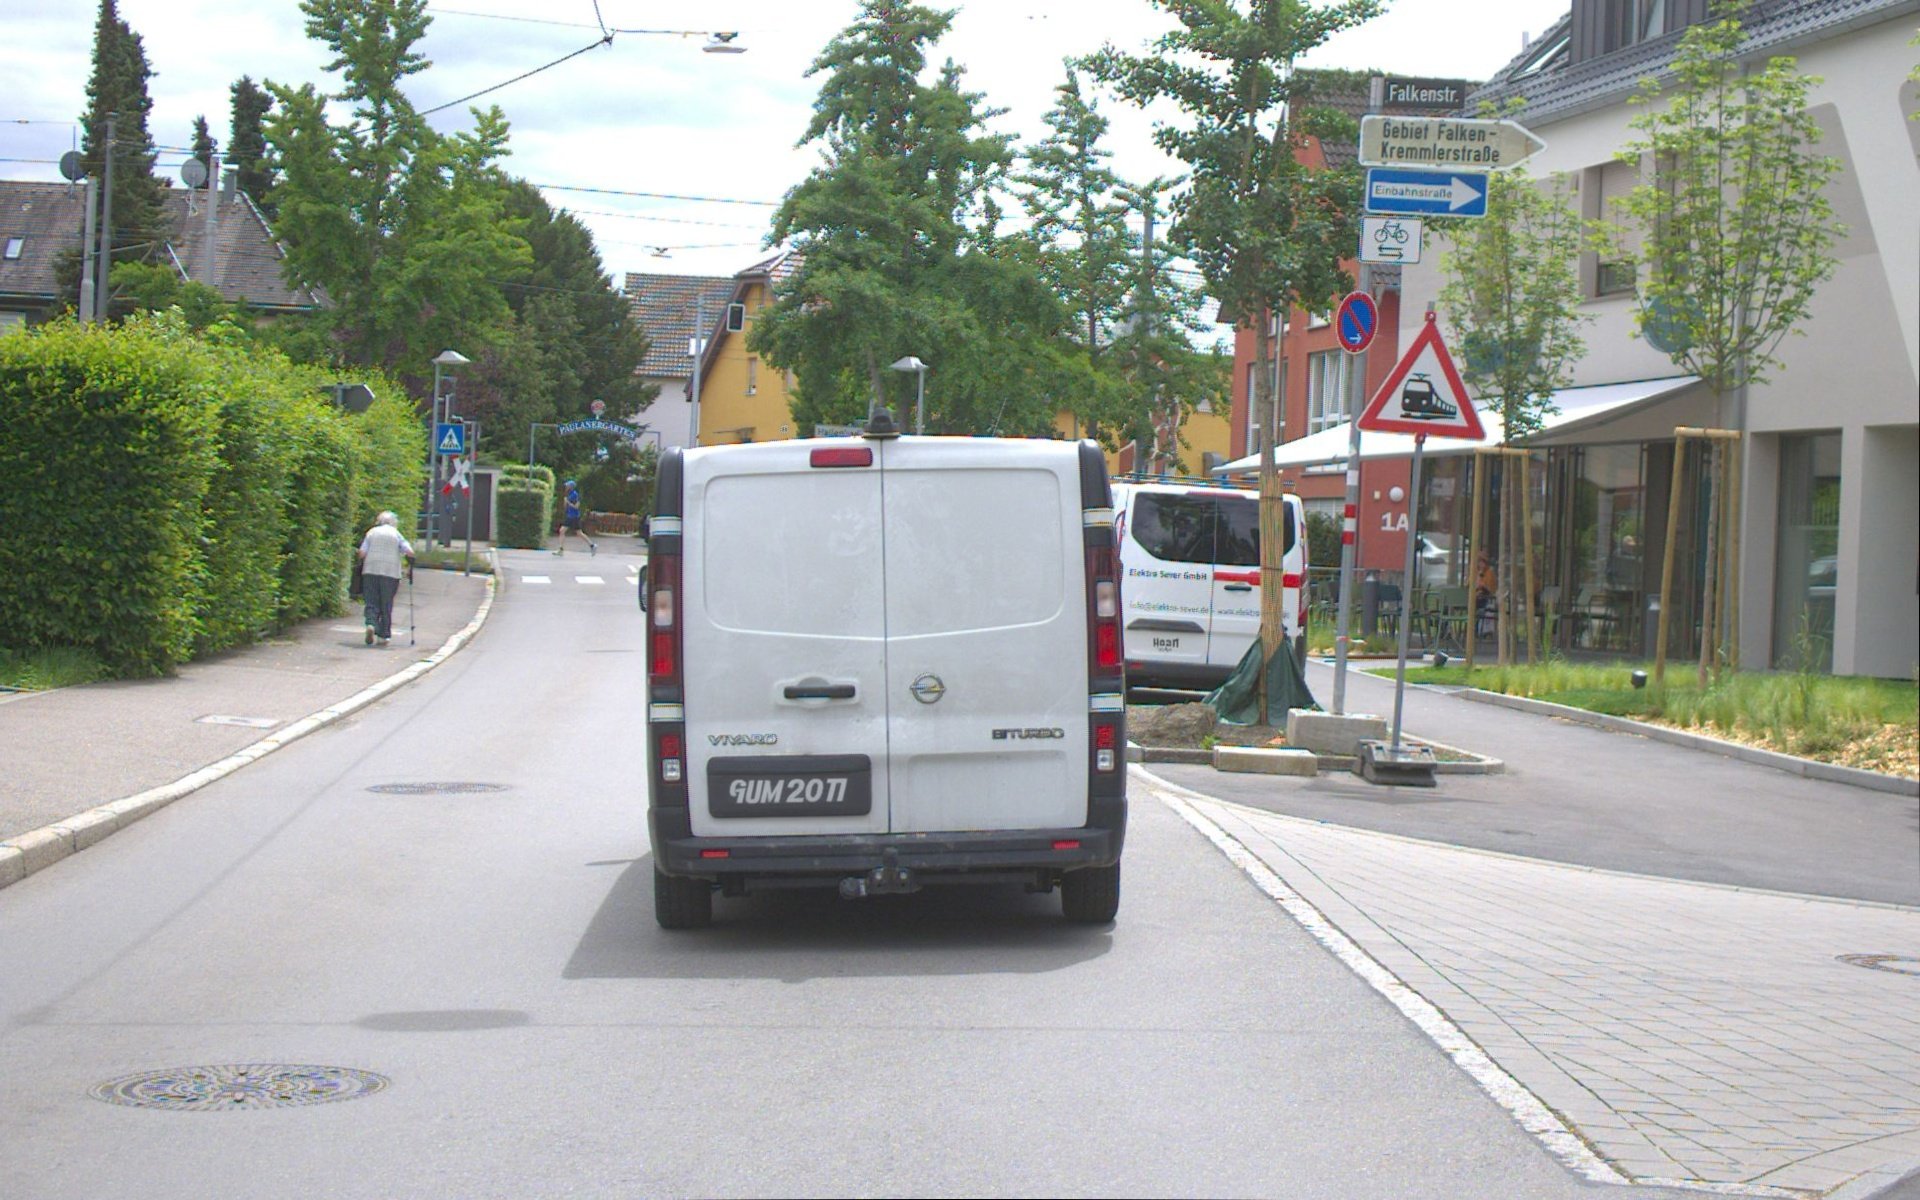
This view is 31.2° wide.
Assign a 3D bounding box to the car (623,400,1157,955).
[{"bbox_3d":[-0.433,0.282,14.883,1.915,1.996,4.438,2,0,-5],"label":"car"}]

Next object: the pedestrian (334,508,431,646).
[{"bbox_3d":[-6.474,-0.261,38.558,0.876,1.480,0.455,4,0,-24],"label":"pedestrian"}]

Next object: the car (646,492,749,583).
[{"bbox_3d":[-5.398,-1.262,70.425,1.993,1.776,4.001,1,1,-5],"label":"car"}]

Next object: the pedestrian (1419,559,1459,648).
[{"bbox_3d":[6.481,0.044,46.476,0.421,1.178,0.324,2,0,-7],"label":"pedestrian"}]

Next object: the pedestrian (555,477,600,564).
[{"bbox_3d":[-9.066,-1.884,81.508,0.832,2.007,0.680,4,0,-15],"label":"pedestrian"}]

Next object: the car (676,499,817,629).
[{"bbox_3d":[-3.273,-0.544,52.111,1.993,1.842,4.001,1,1,-5],"label":"car"}]

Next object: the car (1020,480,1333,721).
[{"bbox_3d":[1.887,-0.028,31.628,1.958,1.909,4.903,4,0,-6],"label":"car"}]
